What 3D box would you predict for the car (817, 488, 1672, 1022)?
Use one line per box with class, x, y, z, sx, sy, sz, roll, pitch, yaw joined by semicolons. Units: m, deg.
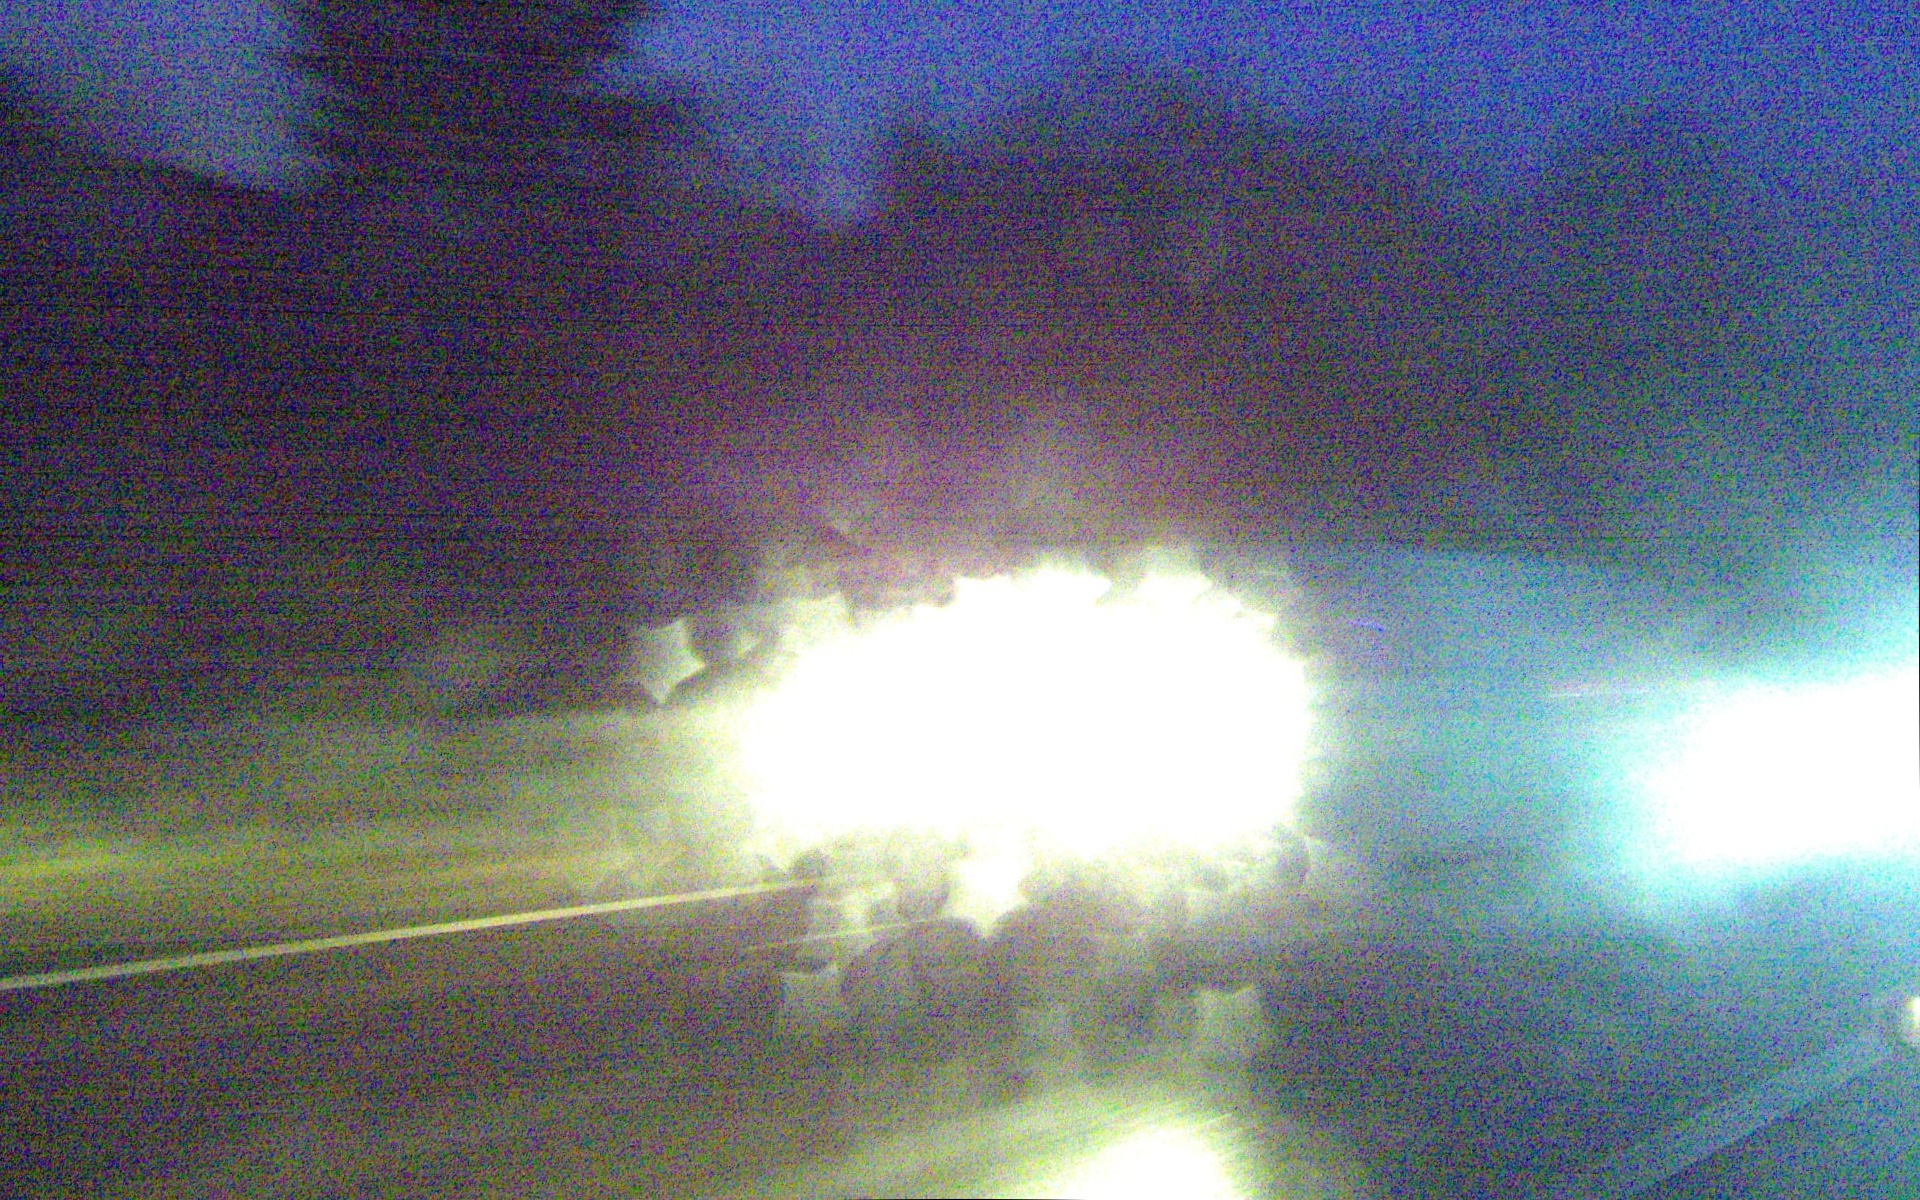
car;1.654;0.599;5.505;4.389;1.884;1.984;2;0;-30
